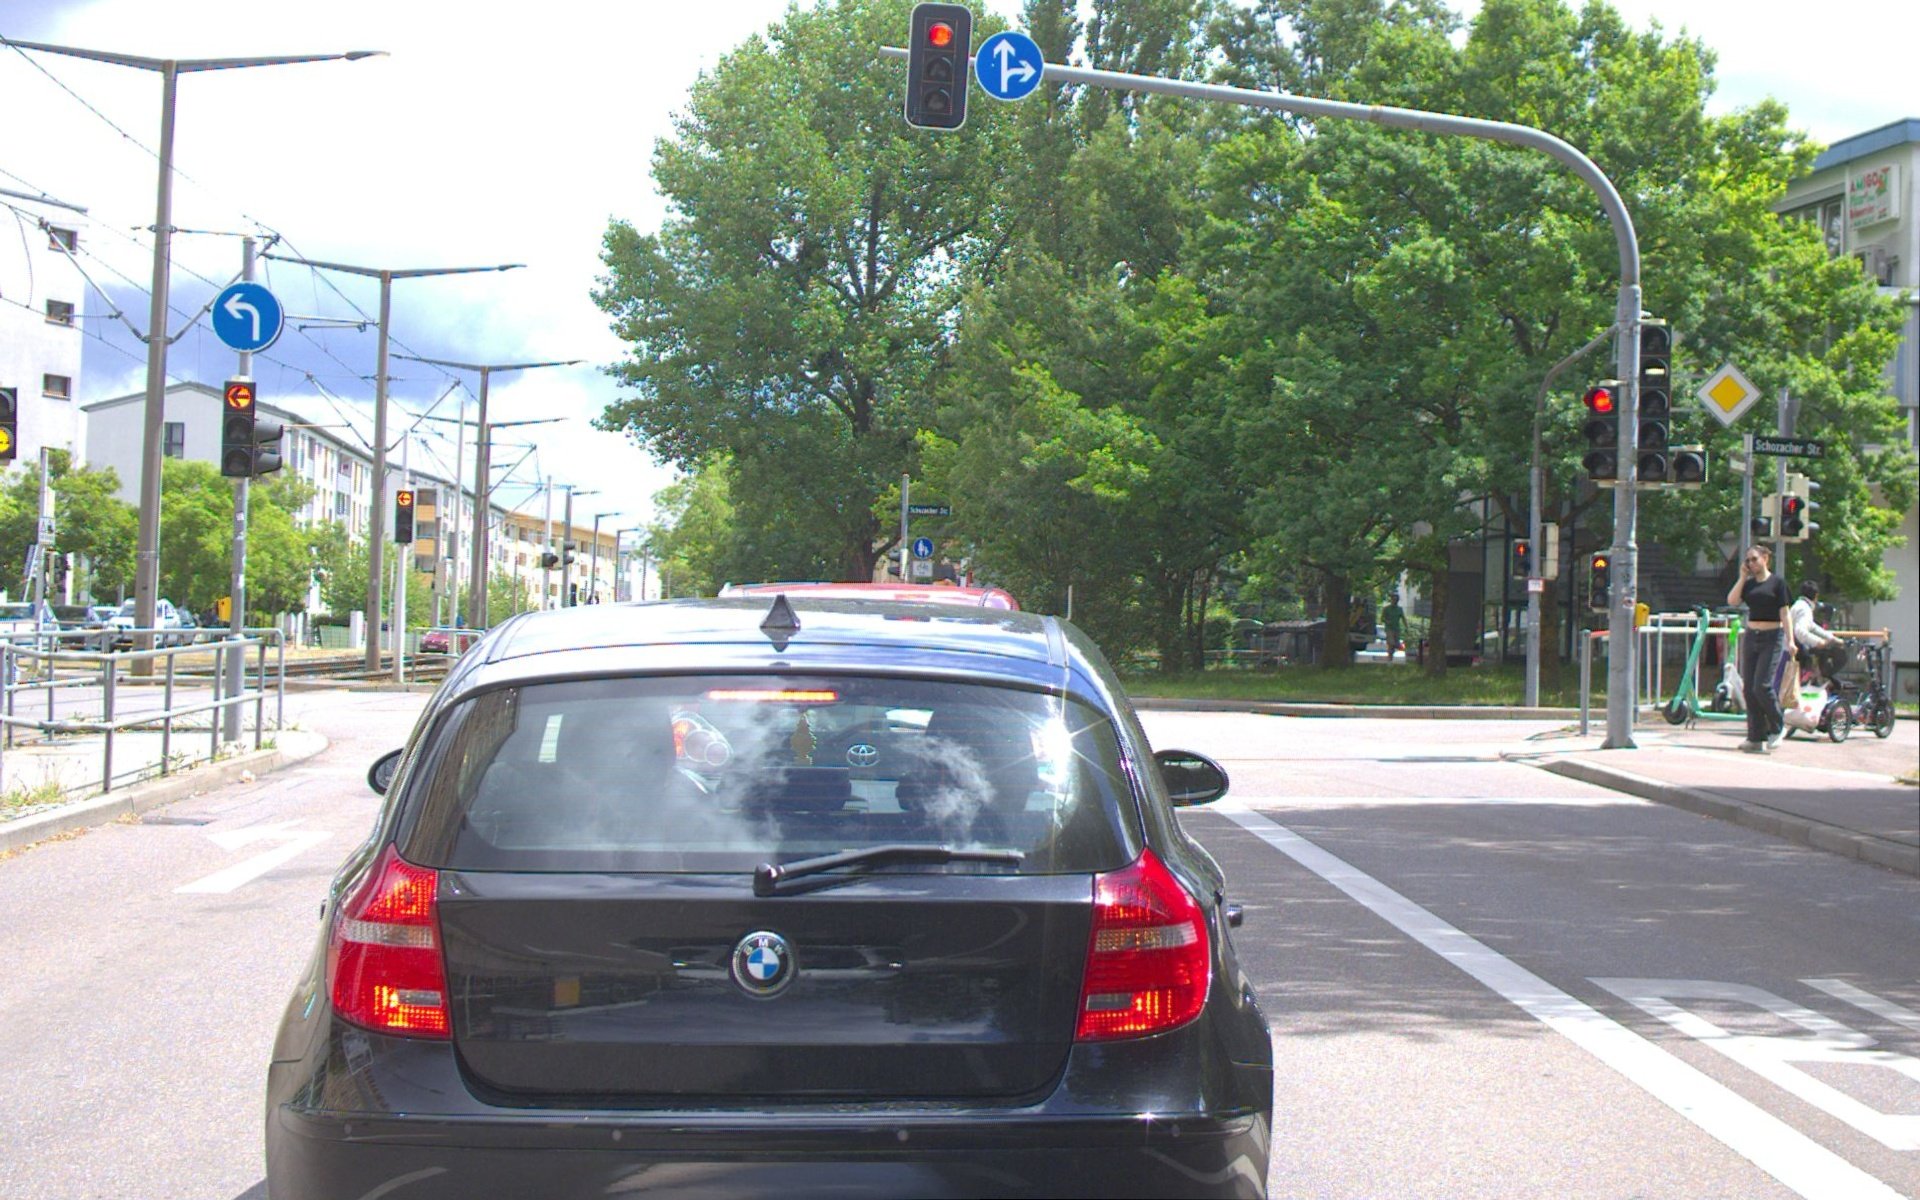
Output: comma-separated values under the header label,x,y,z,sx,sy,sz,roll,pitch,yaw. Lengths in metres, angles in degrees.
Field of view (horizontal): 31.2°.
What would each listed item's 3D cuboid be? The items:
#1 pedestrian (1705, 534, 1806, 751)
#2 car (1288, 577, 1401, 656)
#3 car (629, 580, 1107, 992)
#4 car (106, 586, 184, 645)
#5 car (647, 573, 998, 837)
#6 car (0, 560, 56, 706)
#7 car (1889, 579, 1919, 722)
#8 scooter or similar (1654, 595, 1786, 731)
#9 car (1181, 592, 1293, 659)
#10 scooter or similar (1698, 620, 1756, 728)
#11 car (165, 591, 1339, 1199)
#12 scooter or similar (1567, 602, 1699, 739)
label,x,y,z,sx,sy,sz,roll,pitch,yaw
pedestrian,6.955,0.367,30.048,0.636,1.870,0.518,1,0,-24
car,9.486,0.386,85.060,1.726,1.865,4.001,1,0,-9
car,-0.339,0.636,13.637,1.638,1.395,3.420,1,0,-1
car,-25.270,0.474,106.691,1.591,1.750,3.775,1,0,-2
car,-0.780,0.557,21.107,1.900,1.417,4.539,1,0,-1
car,-12.198,0.290,36.518,4.789,1.517,2.000,1,0,-8
car,15.705,0.685,48.575,4.534,2.007,2.000,-1,0,-8
scooter or similar,7.293,0.602,33.014,1.151,1.268,0.555,1,0,5
car,7.274,0.653,90.688,1.862,1.656,4.001,1,0,-11
scooter or similar,7.791,0.740,34.905,0.548,1.060,1.261,1,0,13
car,-0.326,0.703,6.734,1.700,1.395,3.420,1,0,-1
scooter or similar,6.209,0.646,31.747,1.110,1.231,0.539,1,0,2
